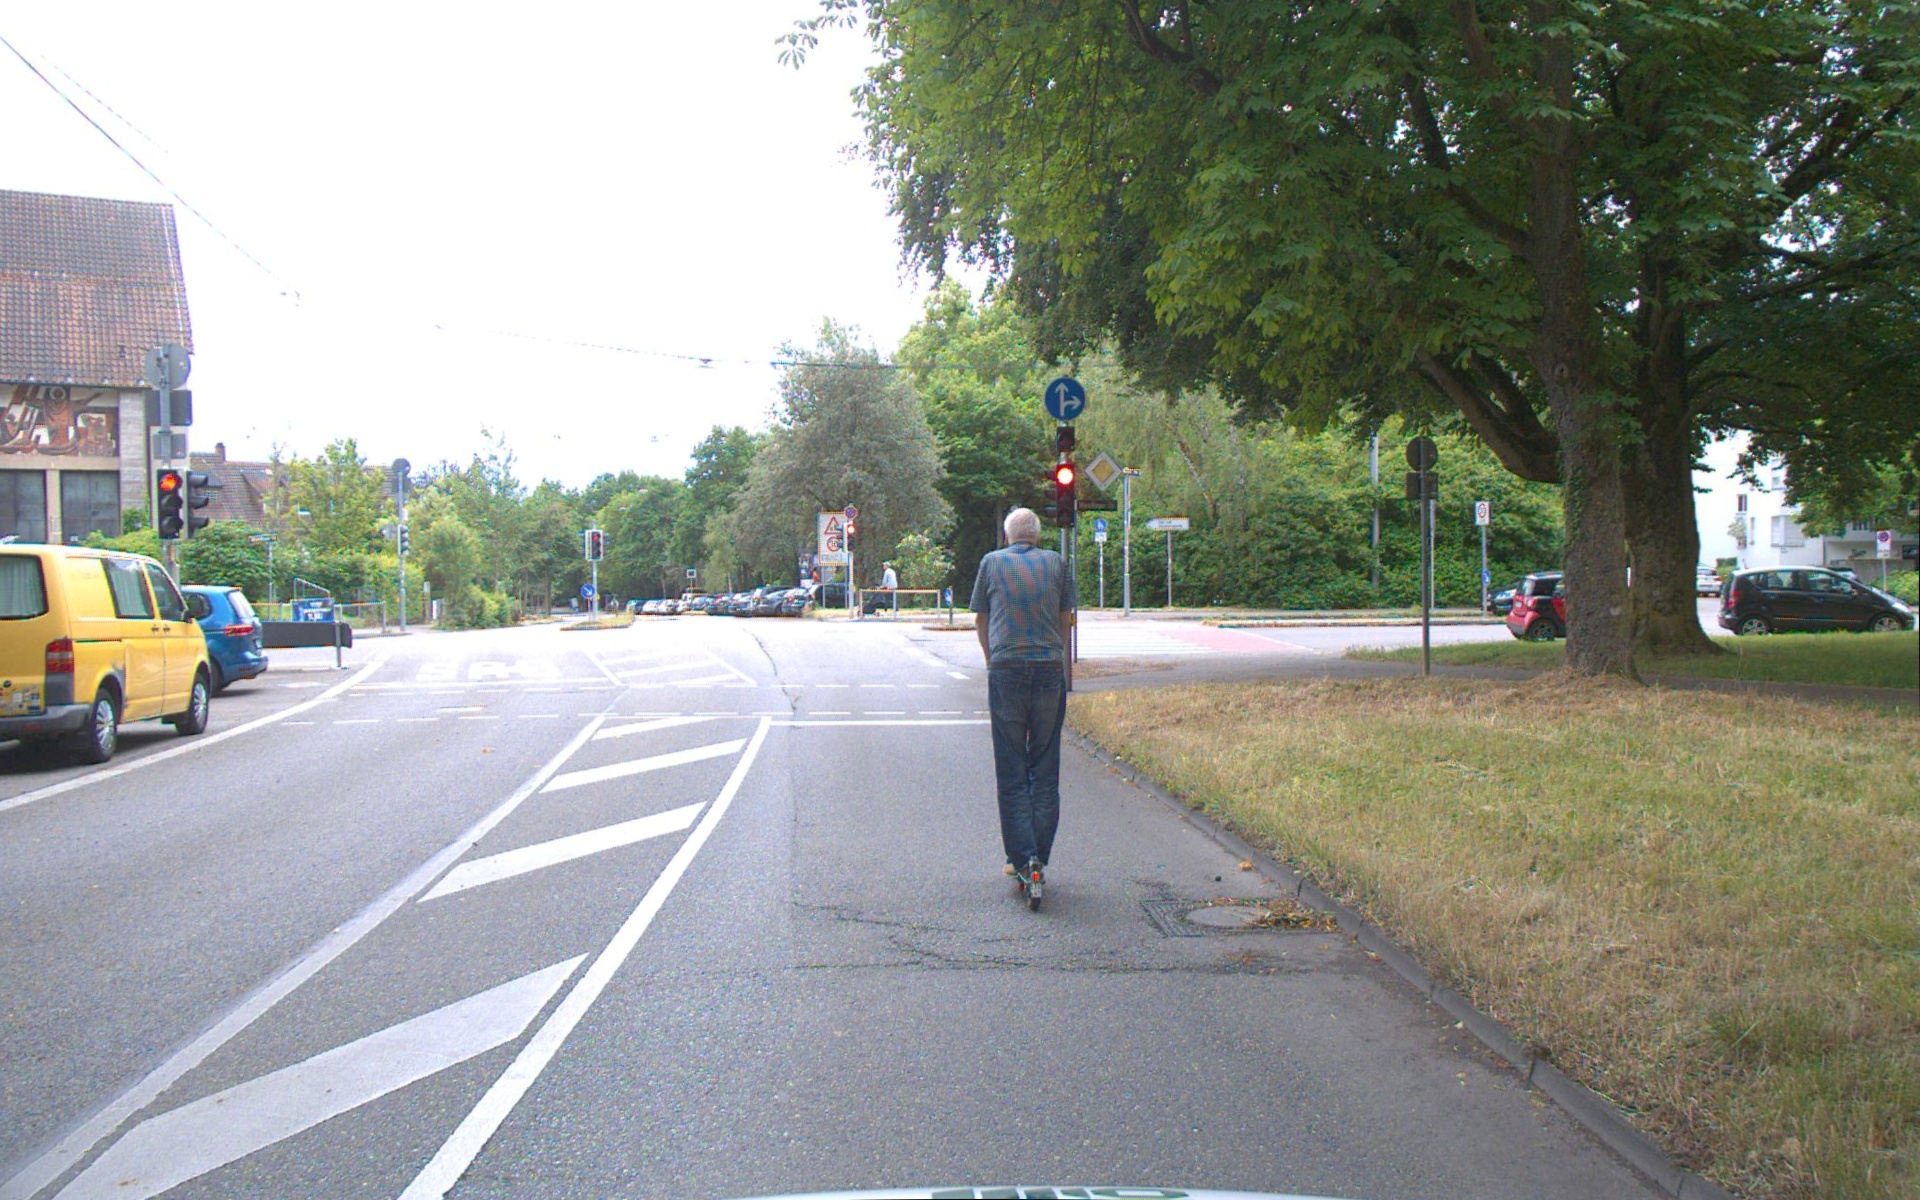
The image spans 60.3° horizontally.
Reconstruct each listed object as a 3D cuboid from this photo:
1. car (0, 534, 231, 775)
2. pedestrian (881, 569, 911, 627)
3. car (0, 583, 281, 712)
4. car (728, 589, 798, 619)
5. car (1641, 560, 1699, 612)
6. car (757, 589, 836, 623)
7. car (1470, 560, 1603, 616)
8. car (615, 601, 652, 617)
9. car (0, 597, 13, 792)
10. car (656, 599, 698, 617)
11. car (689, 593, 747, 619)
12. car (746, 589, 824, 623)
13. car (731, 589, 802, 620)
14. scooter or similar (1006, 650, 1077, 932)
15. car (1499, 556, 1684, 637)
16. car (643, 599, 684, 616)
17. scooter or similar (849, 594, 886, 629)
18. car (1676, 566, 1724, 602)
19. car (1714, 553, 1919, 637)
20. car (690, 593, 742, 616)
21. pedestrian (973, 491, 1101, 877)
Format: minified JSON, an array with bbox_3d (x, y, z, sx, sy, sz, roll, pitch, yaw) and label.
[{"bbox_3d":[-8.838,0.465,16.332,1.849,2.049,4.556,-2,1,-9],"label":"car"},{"bbox_3d":[-2.111,-0.063,54.456,0.865,1.895,0.575,-1,0,9],"label":"pedestrian"},{"bbox_3d":[-12.168,0.660,24.195,3.925,1.639,1.809,-3,1,-18],"label":"car"},{"bbox_3d":[-11.844,0.242,99.298,3.793,1.639,1.714,-3,1,-25],"label":"car"},{"bbox_3d":[24.632,-0.503,57.321,1.688,1.639,3.852,-2,1,25],"label":"car"},{"bbox_3d":[-8.607,0.310,87.137,3.795,1.639,1.713,-3,1,-27],"label":"car"},{"bbox_3d":[17.578,-0.381,50.520,3.444,1.557,1.729,-2,1,4],"label":"car"},{"bbox_3d":[-36.452,0.992,184.638,3.793,1.639,1.714,-3,1,-25],"label":"car"},{"bbox_3d":[-8.079,0.772,10.673,1.658,1.511,4.537,-2,1,-6],"label":"car"},{"bbox_3d":[-28.017,0.817,163.592,3.793,1.639,1.714,-3,1,-25],"label":"car"},{"bbox_3d":[-17.406,0.433,118.914,3.793,1.639,1.714,-3,1,-25],"label":"car"},{"bbox_3d":[-9.476,0.310,89.640,3.793,1.639,1.714,-3,1,-25],"label":"car"},{"bbox_3d":[-11.333,0.241,96.907,3.793,1.639,1.714,-3,1,-25],"label":"car"},{"bbox_3d":[0.378,0.866,7.943,0.276,1.199,1.177,-1,0,1],"label":"scooter or similar"},{"bbox_3d":[14.081,-0.086,37.006,3.445,1.639,1.729,-2,1,3],"label":"car"},{"bbox_3d":[-30.147,0.758,168.200,3.793,1.639,1.714,-3,1,-25],"label":"car"},{"bbox_3d":[-3.049,0.370,54.561,1.084,1.100,0.578,-1,0,10],"label":"scooter or similar"},{"bbox_3d":[36.579,-0.804,81.869,1.686,1.639,3.856,-2,1,17],"label":"car"},{"bbox_3d":[18.425,-0.114,35.753,3.764,1.639,1.728,-2,1,23],"label":"car"},{"bbox_3d":[-19.447,0.367,131.796,3.793,1.639,1.714,-3,1,-25],"label":"car"},{"bbox_3d":[0.374,0.402,8.167,0.561,1.845,0.420,-1,0,-1],"label":"pedestrian"}]
